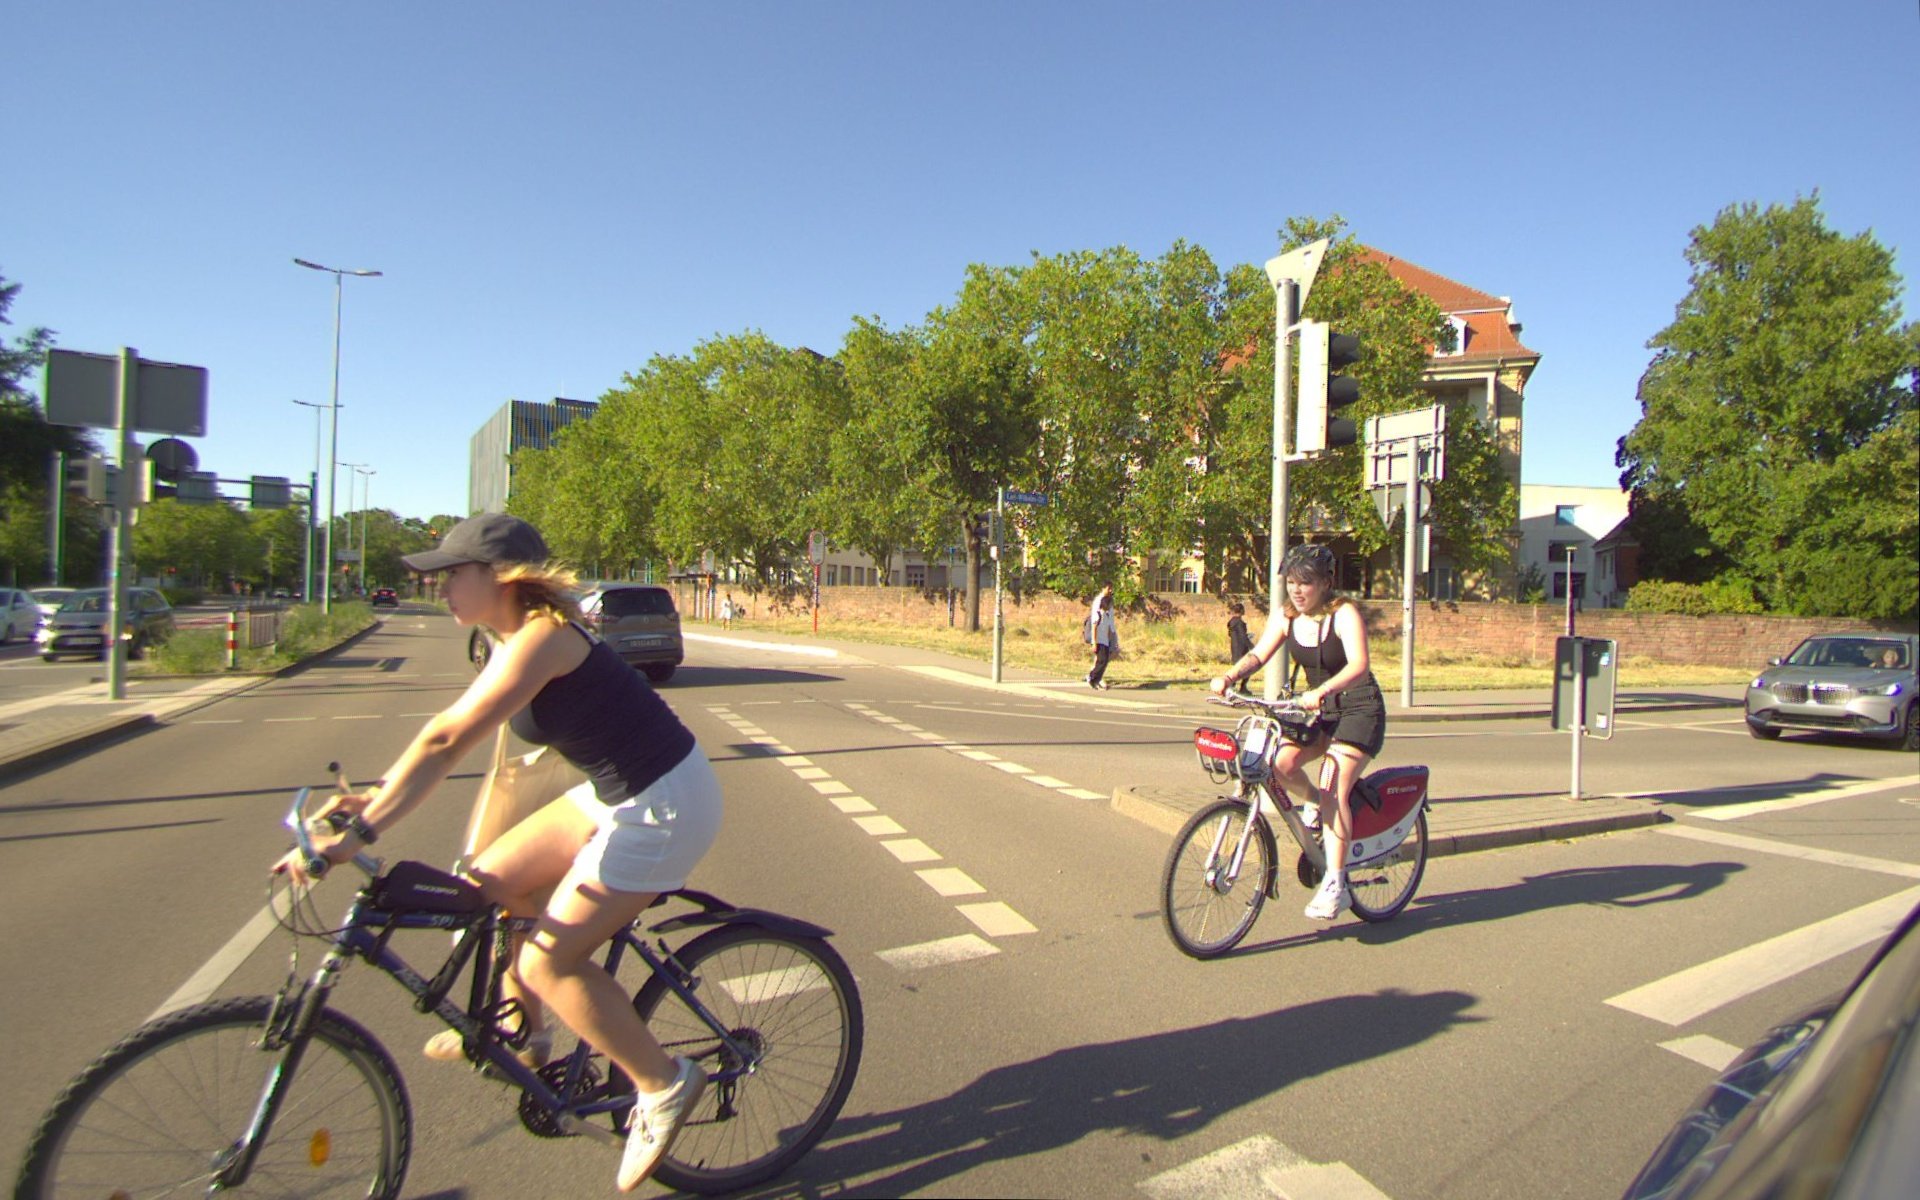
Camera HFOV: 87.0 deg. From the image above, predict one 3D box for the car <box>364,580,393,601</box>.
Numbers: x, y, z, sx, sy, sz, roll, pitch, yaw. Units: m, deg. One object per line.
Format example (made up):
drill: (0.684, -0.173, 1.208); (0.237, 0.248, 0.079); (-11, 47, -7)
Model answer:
car: (-47.626, -0.775, 82.903); (1.960, 1.616, 4.004); (1, 0, -31)

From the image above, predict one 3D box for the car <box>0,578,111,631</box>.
car: (-28.859, 0.114, 32.155); (1.885, 1.538, 4.025); (1, 0, -25)

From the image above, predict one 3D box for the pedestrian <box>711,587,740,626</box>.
pedestrian: (-9.759, 0.269, 42.086); (0.954, 1.556, 0.924); (2, 0, -28)

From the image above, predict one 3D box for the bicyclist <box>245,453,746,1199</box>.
bicyclist: (-1.010, 0.552, 2.196); (0.834, 1.569, 0.717); (2, -2, -37)

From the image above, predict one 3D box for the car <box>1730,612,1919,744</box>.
car: (13.681, 1.065, 15.122); (4.278, 1.641, 2.157); (1, 0, -34)

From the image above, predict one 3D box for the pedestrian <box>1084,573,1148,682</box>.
pedestrian: (2.885, 0.486, 18.713); (0.867, 1.917, 0.704); (4, 3, 34)

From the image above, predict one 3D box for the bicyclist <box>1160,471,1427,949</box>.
bicyclist: (1.430, 0.417, 4.366); (0.833, 1.811, 0.717); (1, -1, -34)

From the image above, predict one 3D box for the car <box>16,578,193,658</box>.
car: (-18.118, 0.322, 21.658); (1.885, 1.538, 4.025); (1, 0, -25)

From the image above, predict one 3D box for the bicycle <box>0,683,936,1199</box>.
bicycle: (-1.007, 0.777, 2.192); (1.834, 1.136, 0.719); (3, -3, -38)

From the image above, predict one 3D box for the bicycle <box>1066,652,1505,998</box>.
bicycle: (1.476, 0.831, 4.405); (2.026, 1.135, 0.720); (1, -1, -34)

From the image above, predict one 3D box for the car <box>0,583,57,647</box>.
car: (-25.501, 0.344, 26.344); (1.885, 1.538, 4.025); (1, 0, -25)

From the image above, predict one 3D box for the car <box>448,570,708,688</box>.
car: (-6.491, 0.391, 16.984); (4.604, 1.706, 1.973); (2, 0, 38)

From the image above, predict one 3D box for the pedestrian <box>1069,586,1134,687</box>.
pedestrian: (2.526, 0.626, 18.098); (0.867, 1.694, 0.704); (4, 4, 34)

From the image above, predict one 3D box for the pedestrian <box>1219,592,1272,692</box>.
pedestrian: (5.050, 0.723, 17.933); (0.781, 1.672, 0.710); (3, 3, 13)
